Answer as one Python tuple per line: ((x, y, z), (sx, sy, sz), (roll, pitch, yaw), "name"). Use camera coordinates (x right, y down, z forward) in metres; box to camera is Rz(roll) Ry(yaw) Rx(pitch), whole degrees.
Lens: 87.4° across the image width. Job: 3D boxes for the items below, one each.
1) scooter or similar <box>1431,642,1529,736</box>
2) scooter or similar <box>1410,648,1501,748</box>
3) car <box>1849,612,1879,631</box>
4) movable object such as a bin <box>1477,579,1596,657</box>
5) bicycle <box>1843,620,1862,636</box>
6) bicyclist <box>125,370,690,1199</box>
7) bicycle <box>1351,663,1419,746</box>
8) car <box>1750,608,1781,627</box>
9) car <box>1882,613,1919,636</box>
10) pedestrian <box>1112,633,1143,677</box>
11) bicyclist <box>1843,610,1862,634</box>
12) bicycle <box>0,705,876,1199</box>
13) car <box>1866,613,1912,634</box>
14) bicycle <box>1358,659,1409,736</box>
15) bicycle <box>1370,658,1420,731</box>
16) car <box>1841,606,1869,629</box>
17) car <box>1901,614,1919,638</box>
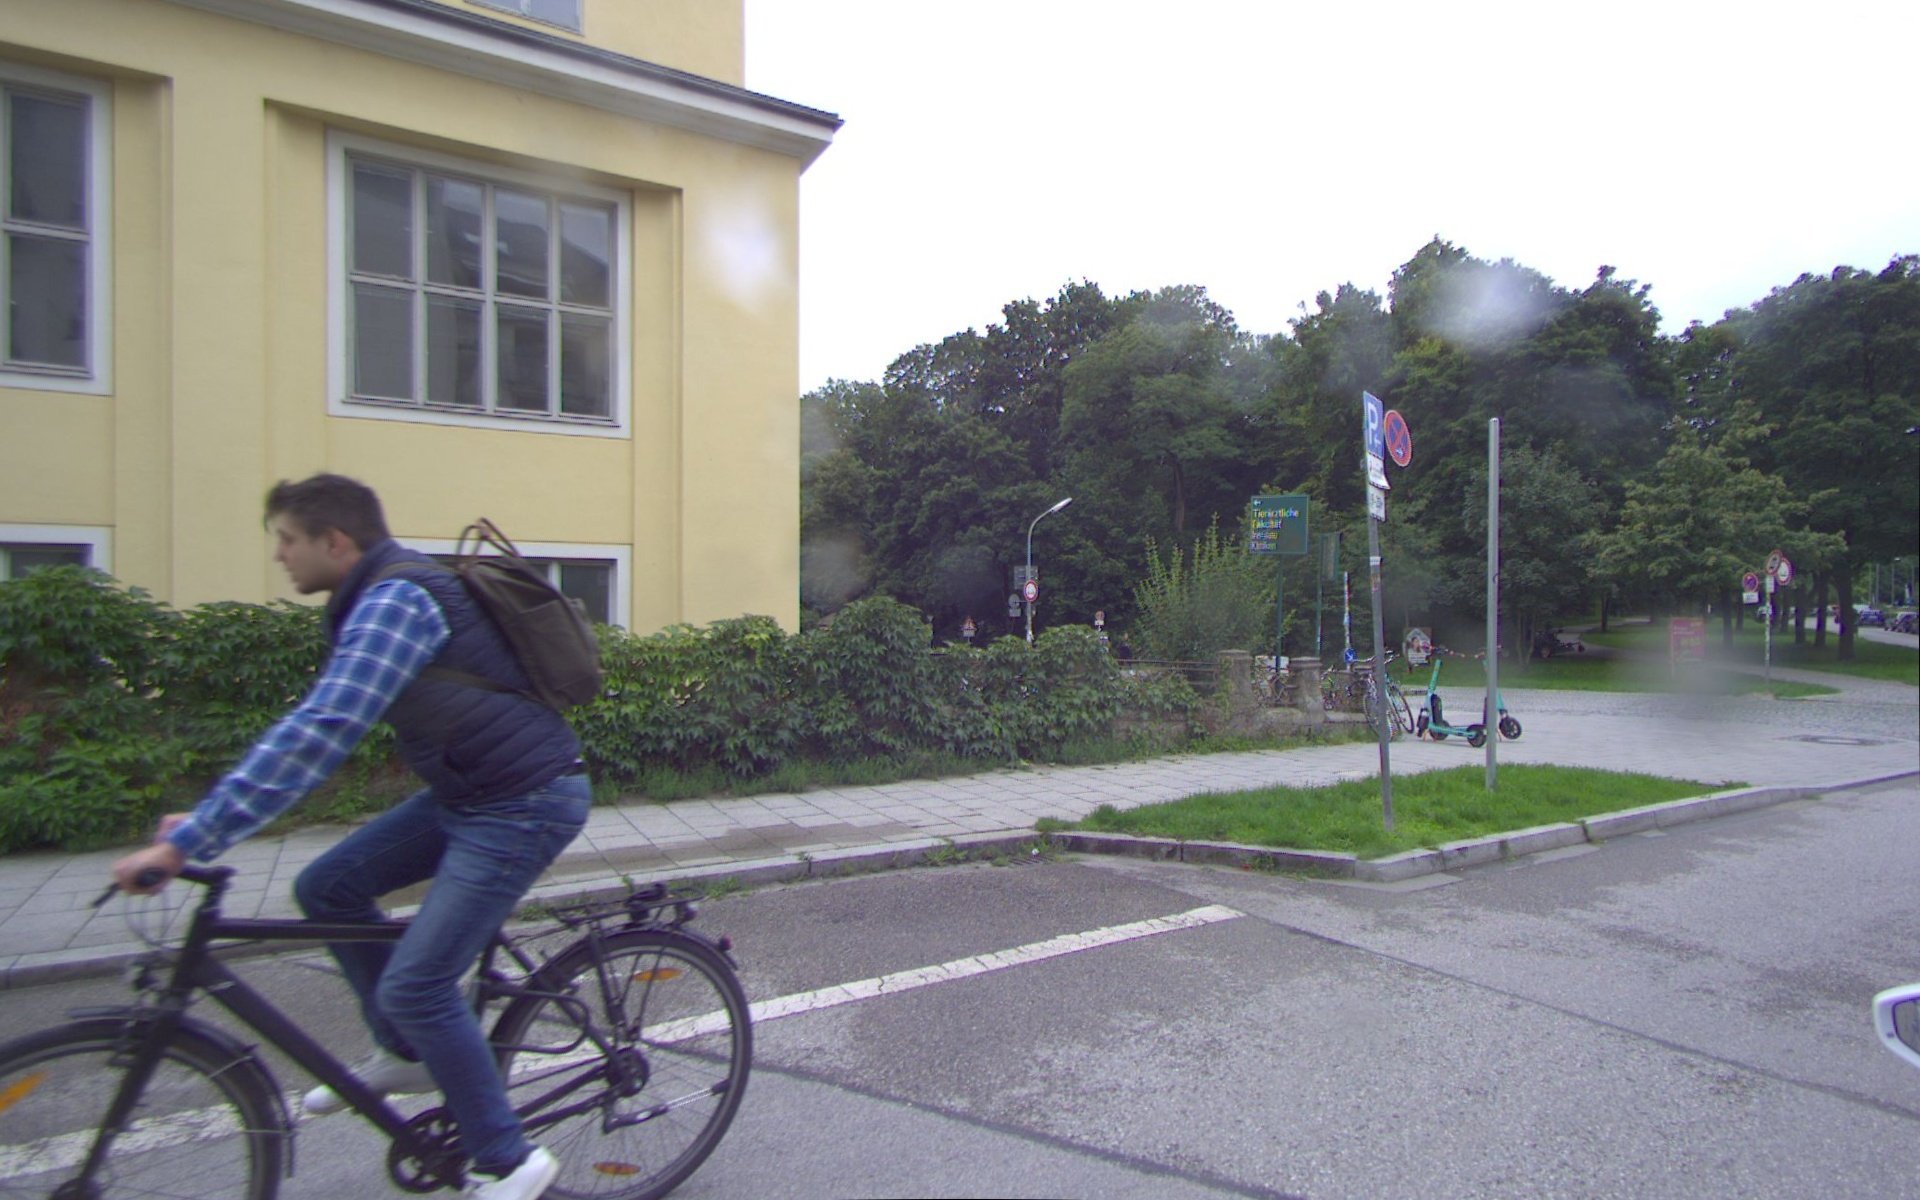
((6.918, 1.172, 13.390), (1.096, 1.204, 0.345), (0, 0, 8), "scooter or similar")
((6.318, 1.224, 12.861), (0.340, 1.204, 1.114), (0, -1, -20), "scooter or similar")
((81.496, 1.919, 90.518), (1.972, 1.627, 3.978), (0, -1, 42), "car")
((24.625, 0.794, 43.037), (3.919, 3.256, 2.001), (0, -1, 4), "movable object such as a bin")
((55.728, 1.748, 62.709), (0.631, 0.980, 1.989), (0, 0, 35), "bicycle")
((-1.214, 0.436, 2.305), (0.936, 1.629, 0.858), (1, 0, -31), "bicyclist")
((5.621, 1.350, 13.255), (0.535, 0.987, 1.149), (0, -1, 39), "bicycle")
((75.980, 1.669, 94.768), (1.967, 1.713, 3.987), (-1, -2, 35), "car")
((69.348, 1.799, 73.559), (1.966, 1.627, 3.990), (0, -1, 33), "car")
((6.742, 2.206, 40.444), (0.879, 1.710, 0.938), (0, -1, -27), "pedestrian")
((55.727, 1.353, 62.706), (0.785, 1.490, 0.890), (0, 0, 35), "bicyclist")
((-1.230, 0.893, 2.286), (1.981, 1.174, 0.666), (1, -1, -32), "bicycle")
((72.386, 1.832, 78.303), (1.966, 1.627, 3.990), (0, -1, 33), "car")
((6.187, 1.399, 14.740), (0.295, 1.003, 1.585), (0, -1, 8), "bicycle")
((6.565, 1.403, 15.211), (0.295, 1.003, 1.585), (0, -1, 8), "bicycle")
((87.123, 1.691, 97.765), (1.972, 2.188, 3.978), (0, -1, 42), "car")
((66.296, 1.767, 68.830), (1.966, 1.627, 3.990), (0, -1, 33), "car")
